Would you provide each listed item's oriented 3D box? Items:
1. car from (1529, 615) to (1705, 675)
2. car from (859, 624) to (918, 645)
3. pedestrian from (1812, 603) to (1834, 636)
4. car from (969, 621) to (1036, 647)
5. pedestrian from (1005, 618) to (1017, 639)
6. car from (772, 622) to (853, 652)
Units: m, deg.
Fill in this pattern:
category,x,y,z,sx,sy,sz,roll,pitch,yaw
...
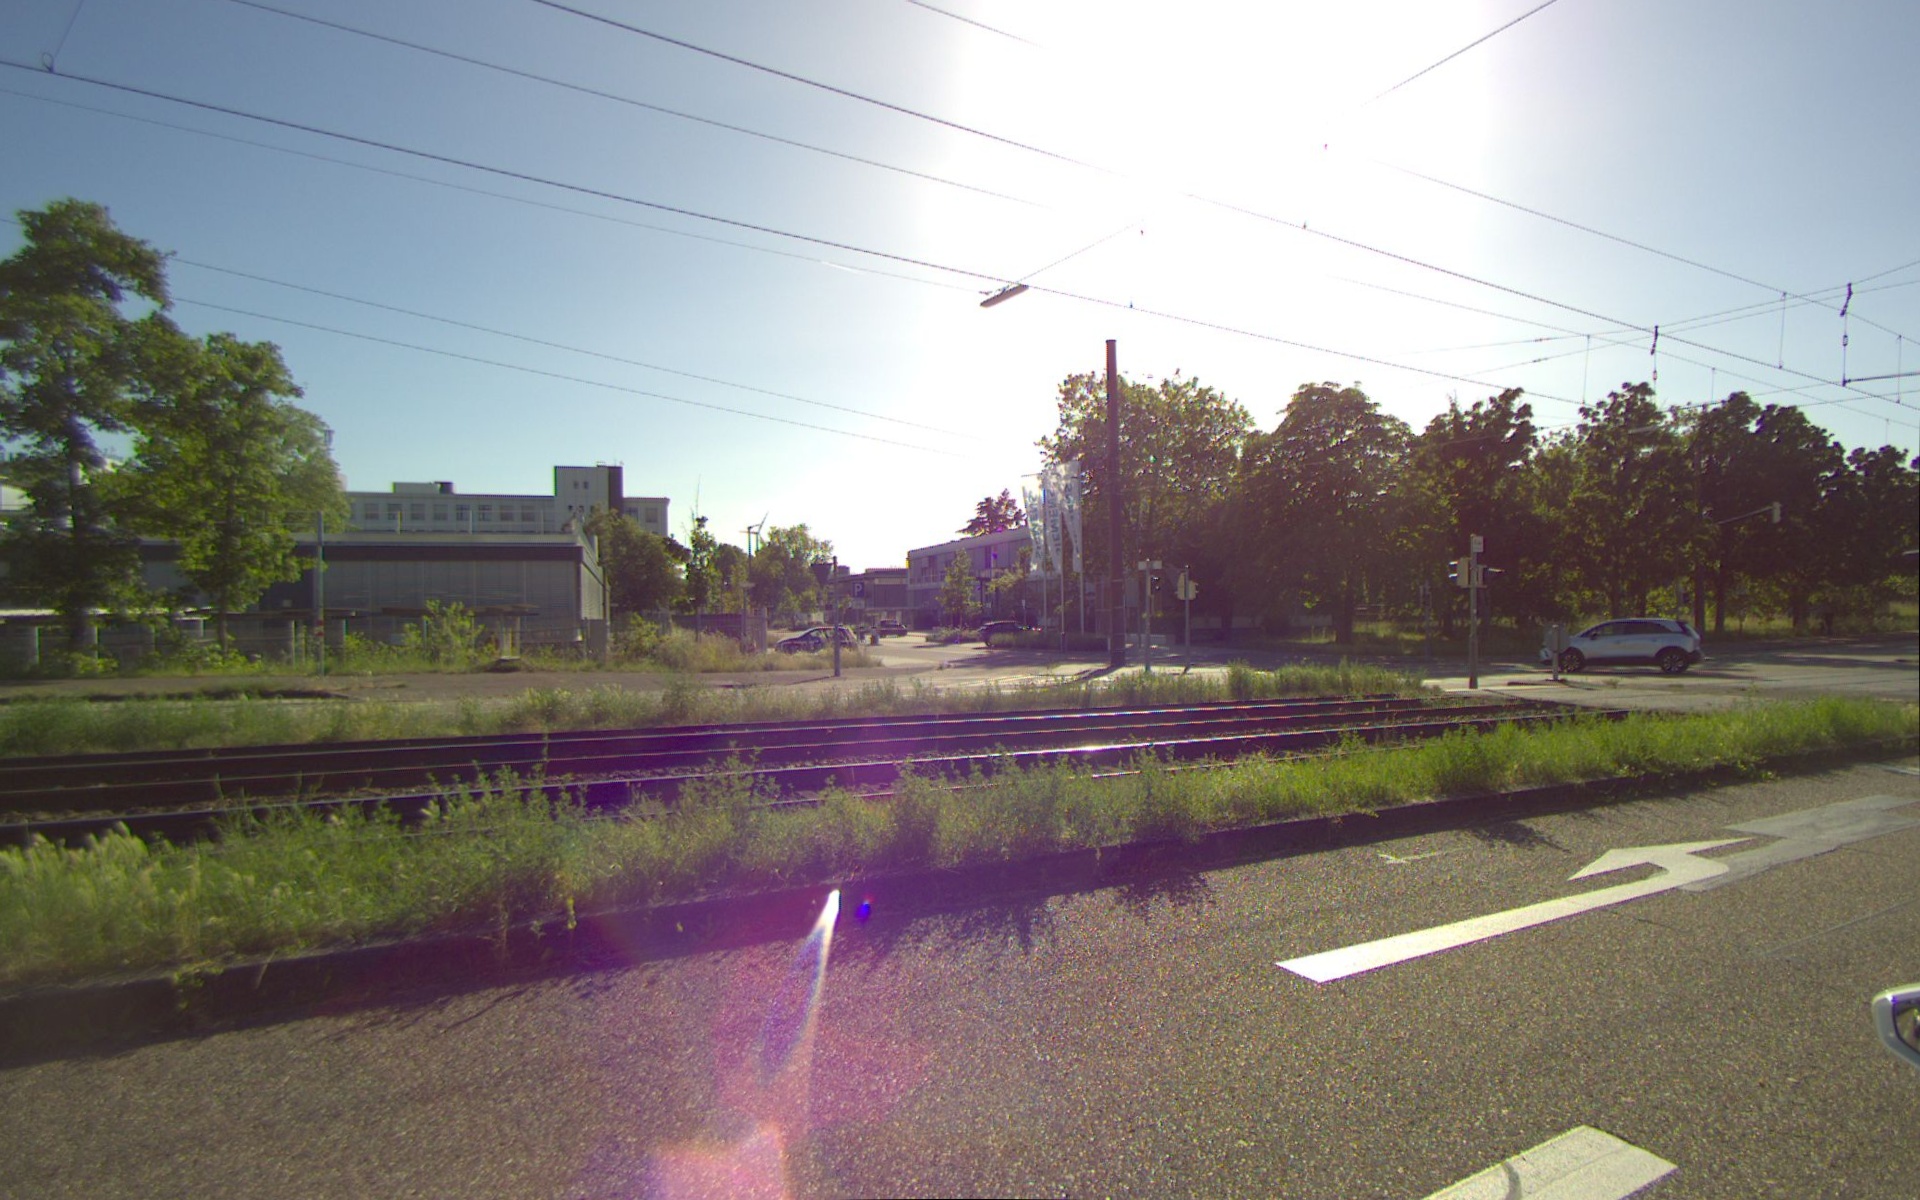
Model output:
category,x,y,z,sx,sy,sz,roll,pitch,yaw
car,19.690,1.289,30.218,4.194,1.628,1.846,0,0,43
car,-5.127,2.456,71.795,3.893,1.471,1.688,1,0,-21
pedestrian,53.358,1.190,62.111,0.853,2.040,0.835,1,0,-32
car,2.628,2.085,61.718,3.818,1.508,1.682,1,0,-32
pedestrian,3.781,2.085,74.471,0.808,1.549,0.763,1,0,-9
car,-7.590,1.879,51.708,3.806,1.453,1.687,1,0,-23
